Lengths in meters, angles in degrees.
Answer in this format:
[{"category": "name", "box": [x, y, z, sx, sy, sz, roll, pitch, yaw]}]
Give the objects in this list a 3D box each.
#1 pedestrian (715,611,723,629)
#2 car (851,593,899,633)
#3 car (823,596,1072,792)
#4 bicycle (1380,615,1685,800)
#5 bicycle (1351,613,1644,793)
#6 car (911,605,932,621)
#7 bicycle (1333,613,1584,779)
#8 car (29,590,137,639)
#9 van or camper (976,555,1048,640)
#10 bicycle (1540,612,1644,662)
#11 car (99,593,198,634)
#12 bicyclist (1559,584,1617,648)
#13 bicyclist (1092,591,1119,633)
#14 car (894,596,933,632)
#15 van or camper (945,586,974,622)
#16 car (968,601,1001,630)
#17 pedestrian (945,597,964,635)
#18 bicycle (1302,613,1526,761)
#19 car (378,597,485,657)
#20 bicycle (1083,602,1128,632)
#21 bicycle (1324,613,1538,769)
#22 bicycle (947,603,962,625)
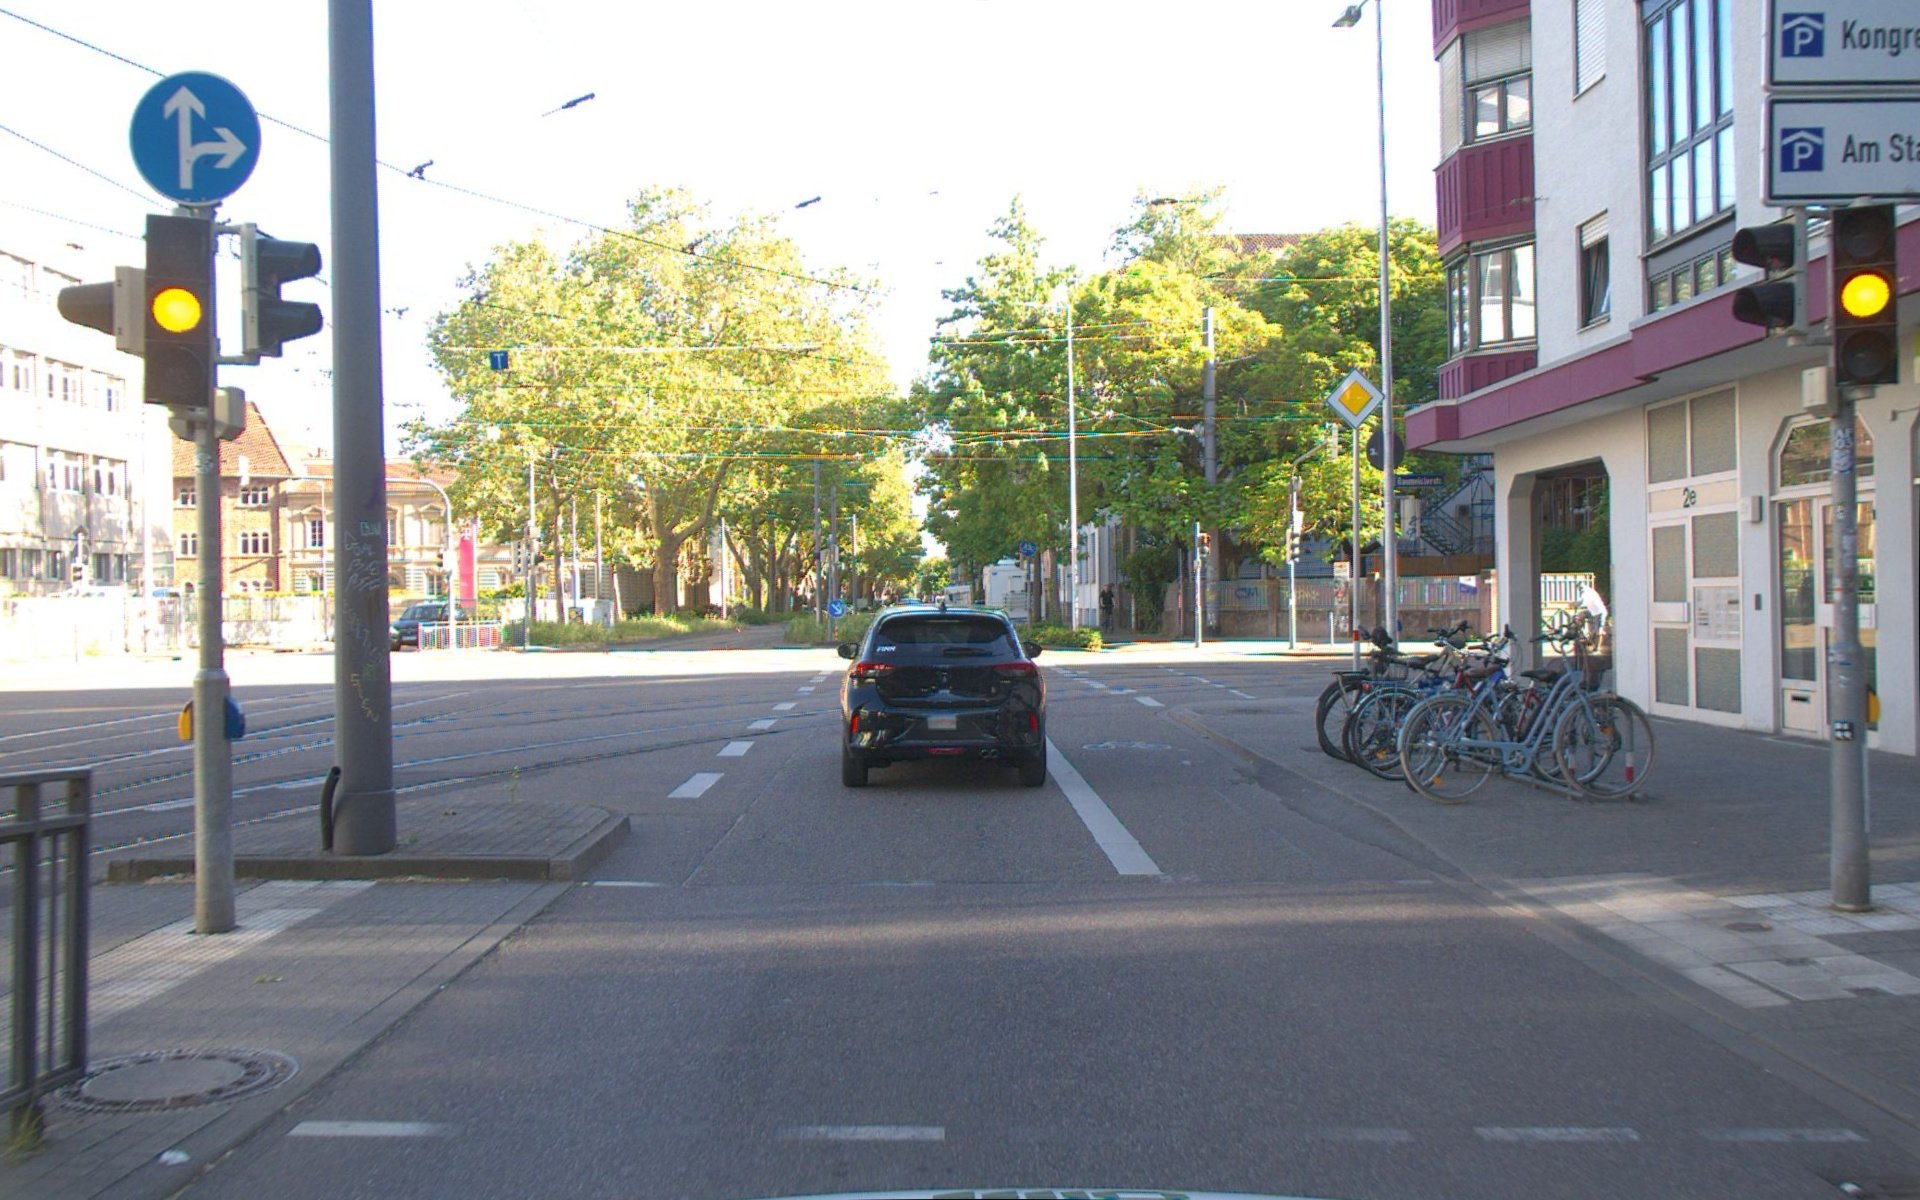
[{"category": "pedestrian", "box": [-22.293, 1.830, 153.118, 0.645, 1.650, 0.615, 1, 0, -2]}, {"category": "car", "box": [-3.701, 0.561, 72.511, 1.953, 1.656, 4.469, 1, 0, -2]}, {"category": "car", "box": [-0.086, 0.707, 14.633, 1.866, 1.450, 4.215, -1, 0, 0]}, {"category": "bicycle", "box": [3.936, 0.724, 11.428, 1.901, 1.191, 0.572, -1, 0, -4]}, {"category": "bicycle", "box": [3.898, 0.729, 12.047, 1.938, 1.220, 0.590, -1, 0, -5]}, {"category": "car", "box": [-3.621, 1.191, 155.693, 1.866, 1.450, 4.215, -1, 0, 0]}, {"category": "bicycle", "box": [3.875, 0.739, 12.926, 1.793, 1.242, 0.496, -1, 0, 3]}, {"category": "car", "box": [-38.533, 0.626, 72.802, 1.952, 2.049, 4.727, -1, 0, 4]}, {"category": "van or camper", "box": [2.080, -0.110, 68.580, 2.328, 3.179, 7.548, -4, 0, -2]}, {"category": "bicycle", "box": [15.437, 0.897, 40.390, 2.283, 1.138, 0.843, -1, 0, -12]}, {"category": "car", "box": [-35.615, 0.566, 72.695, 1.952, 1.733, 4.380, -1, 0, 4]}, {"category": "bicyclist", "box": [15.331, 0.386, 40.387, 0.909, 1.535, 1.009, -1, 0, -12]}, {"category": "bicyclist", "box": [5.448, 0.449, 61.867, 0.741, 1.536, 0.694, -1, 0, -32]}, {"category": "car", "box": [-2.212, 0.644, 78.323, 1.796, 1.651, 4.282, 1, 0, -2]}, {"category": "van or camper", "box": [-0.054, 0.350, 142.076, 2.435, 3.046, 5.434, 1, 0, 0]}, {"category": "car", "box": [1.416, 0.868, 95.406, 1.754, 1.536, 3.873, -3, 0, -1]}, {"category": "pedestrian", "box": [-0.294, 0.894, 91.686, 1.015, 2.059, 1.212, -1, 0, -2]}, {"category": "bicycle", "box": [3.888, 0.743, 14.241, 1.764, 1.220, 0.546, -1, -1, 4]}, {"category": "car", "box": [-18.468, 0.915, 57.993, 1.951, 1.982, 4.427, -1, 0, 6]}, {"category": "bicycle", "box": [5.436, 0.626, 61.892, 0.633, 1.089, 1.930, -1, 0, -31]}, {"category": "bicycle", "box": [3.823, 0.734, 13.497, 1.588, 1.220, 0.496, -1, 0, 4]}, {"category": "bicycle", "box": [-0.312, 0.761, 91.327, 0.699, 1.191, 1.945, -1, 0, -3]}]
